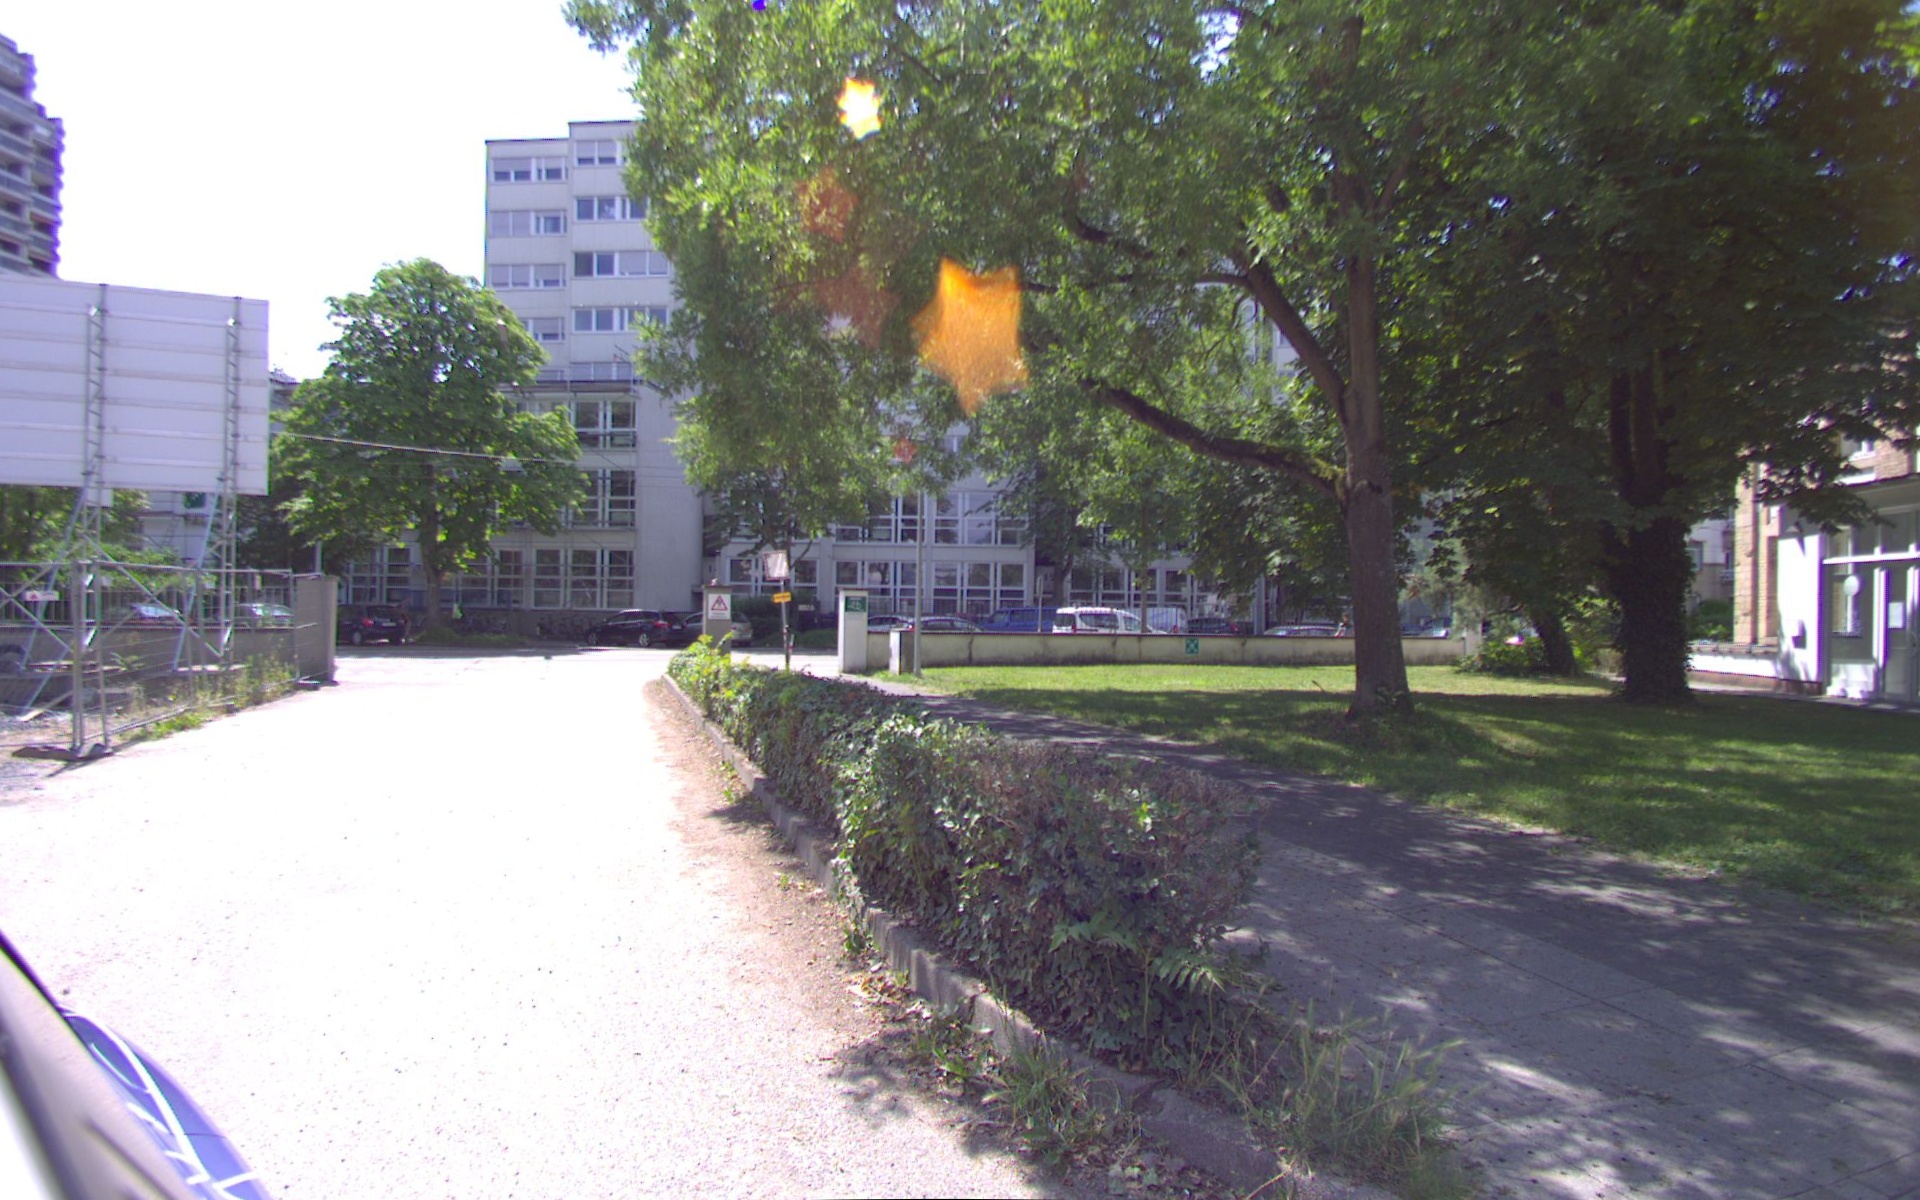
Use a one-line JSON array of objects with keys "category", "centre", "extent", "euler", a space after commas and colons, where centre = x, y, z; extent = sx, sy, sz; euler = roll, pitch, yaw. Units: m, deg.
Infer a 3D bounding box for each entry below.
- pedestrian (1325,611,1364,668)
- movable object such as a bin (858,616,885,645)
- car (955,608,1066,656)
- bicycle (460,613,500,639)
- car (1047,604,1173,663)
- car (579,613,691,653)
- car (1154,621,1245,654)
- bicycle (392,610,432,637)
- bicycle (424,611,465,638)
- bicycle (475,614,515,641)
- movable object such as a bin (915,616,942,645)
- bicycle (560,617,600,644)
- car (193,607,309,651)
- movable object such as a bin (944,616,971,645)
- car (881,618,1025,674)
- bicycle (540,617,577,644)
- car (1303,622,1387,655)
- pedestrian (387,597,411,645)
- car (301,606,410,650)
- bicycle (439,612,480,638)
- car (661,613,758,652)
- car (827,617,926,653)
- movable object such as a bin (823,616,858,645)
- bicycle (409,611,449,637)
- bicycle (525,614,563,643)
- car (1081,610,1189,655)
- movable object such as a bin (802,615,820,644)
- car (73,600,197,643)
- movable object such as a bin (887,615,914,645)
[{"category": "pedestrian", "centre": [10.832, 1.109, 28.527], "extent": [0.731, 1.579, 0.700], "euler": [0, -1, -22]}, {"category": "movable object such as a bin", "centre": [-4.283, 1.478, 48.985], "extent": [1.058, 1.340, 0.974], "euler": [1, -2, -19]}, {"category": "car", "centre": [2.274, 1.422, 45.787], "extent": [4.603, 2.029, 1.983], "euler": [0, -2, 25]}, {"category": "bicycle", "centre": [-21.107, 1.143, 44.540], "extent": [0.562, 1.139, 1.937], "euler": [0, -1, 10]}, {"category": "car", "centre": [5.096, 1.124, 34.416], "extent": [3.930, 1.868, 1.524], "euler": [1, 2, -22]}, {"category": "car", "centre": [-12.941, 1.284, 40.300], "extent": [4.171, 1.481, 1.740], "euler": [0, -1, 24]}, {"category": "car", "centre": [11.548, 1.798, 48.929], "extent": [3.992, 1.497, 1.650], "euler": [0, -2, 36]}, {"category": "bicycle", "centre": [-24.324, 1.039, 44.952], "extent": [0.562, 1.139, 1.923], "euler": [0, -1, 7]}, {"category": "bicycle", "centre": [-22.804, 1.092, 44.803], "extent": [0.562, 1.139, 1.921], "euler": [0, -1, 10]}, {"category": "bicycle", "centre": [-20.349, 1.185, 44.339], "extent": [0.562, 1.139, 1.937], "euler": [0, -1, 10]}, {"category": "movable object such as a bin", "centre": [-1.573, 1.496, 50.016], "extent": [1.162, 1.409, 1.040], "euler": [1, -2, -12]}, {"category": "bicycle", "centre": [-16.737, 1.349, 44.592], "extent": [0.562, 1.139, 2.227], "euler": [0, -1, 10]}, {"category": "car", "centre": [-24.898, 0.982, 35.504], "extent": [4.006, 1.474, 1.801], "euler": [0, -1, 30]}, {"category": "movable object such as a bin", "centre": [-0.131, 1.520, 50.450], "extent": [1.162, 1.409, 1.040], "euler": [1, -2, -12]}, {"category": "car", "centre": [-0.190, 1.289, 27.956], "extent": [3.661, 1.468, 1.594], "euler": [2, -4, -24]}, {"category": "bicycle", "centre": [-17.566, 1.317, 44.299], "extent": [0.562, 1.139, 1.937], "euler": [0, -1, 10]}, {"category": "car", "centre": [20.115, 1.985, 52.843], "extent": [3.975, 1.397, 1.737], "euler": [3, 2, 23]}, {"category": "pedestrian", "centre": [-22.086, 0.831, 39.839], "extent": [0.568, 1.889, 0.717], "euler": [1, -2, -7]}, {"category": "car", "centre": [-21.880, 0.990, 36.658], "extent": [3.553, 1.528, 1.637], "euler": [0, -1, 24]}, {"category": "bicycle", "centre": [-22.077, 1.103, 44.663], "extent": [0.562, 1.139, 1.937], "euler": [0, -1, 10]}, {"category": "car", "centre": [-10.238, 1.313, 41.406], "extent": [3.518, 1.473, 1.740], "euler": [0, -1, 24]}, {"category": "car", "centre": [-3.589, 1.489, 43.521], "extent": [3.956, 1.424, 1.701], "euler": [0, -1, 23]}, {"category": "movable object such as a bin", "centre": [-5.717, 1.449, 48.399], "extent": [1.427, 1.340, 1.130], "euler": [1, -2, -19]}, {"category": "bicycle", "centre": [-23.552, 1.075, 44.956], "extent": [0.562, 1.139, 1.923], "euler": [0, -1, 7]}, {"category": "bicycle", "centre": [-18.362, 1.253, 44.696], "extent": [0.562, 1.247, 1.937], "euler": [0, -1, 10]}, {"category": "car", "centre": [8.254, 1.513, 47.832], "extent": [4.616, 2.029, 1.978], "euler": [0, -2, 32]}, {"category": "movable object such as a bin", "centre": [-7.250, 1.425, 49.281], "extent": [0.791, 1.416, 0.768], "euler": [1, -2, -6]}, {"category": "car", "centre": [-27.989, 0.705, 34.339], "extent": [3.997, 1.383, 1.617], "euler": [0, -1, 24]}, {"category": "movable object such as a bin", "centre": [-2.907, 1.473, 49.610], "extent": [1.162, 1.409, 1.040], "euler": [1, -2, -12]}]
